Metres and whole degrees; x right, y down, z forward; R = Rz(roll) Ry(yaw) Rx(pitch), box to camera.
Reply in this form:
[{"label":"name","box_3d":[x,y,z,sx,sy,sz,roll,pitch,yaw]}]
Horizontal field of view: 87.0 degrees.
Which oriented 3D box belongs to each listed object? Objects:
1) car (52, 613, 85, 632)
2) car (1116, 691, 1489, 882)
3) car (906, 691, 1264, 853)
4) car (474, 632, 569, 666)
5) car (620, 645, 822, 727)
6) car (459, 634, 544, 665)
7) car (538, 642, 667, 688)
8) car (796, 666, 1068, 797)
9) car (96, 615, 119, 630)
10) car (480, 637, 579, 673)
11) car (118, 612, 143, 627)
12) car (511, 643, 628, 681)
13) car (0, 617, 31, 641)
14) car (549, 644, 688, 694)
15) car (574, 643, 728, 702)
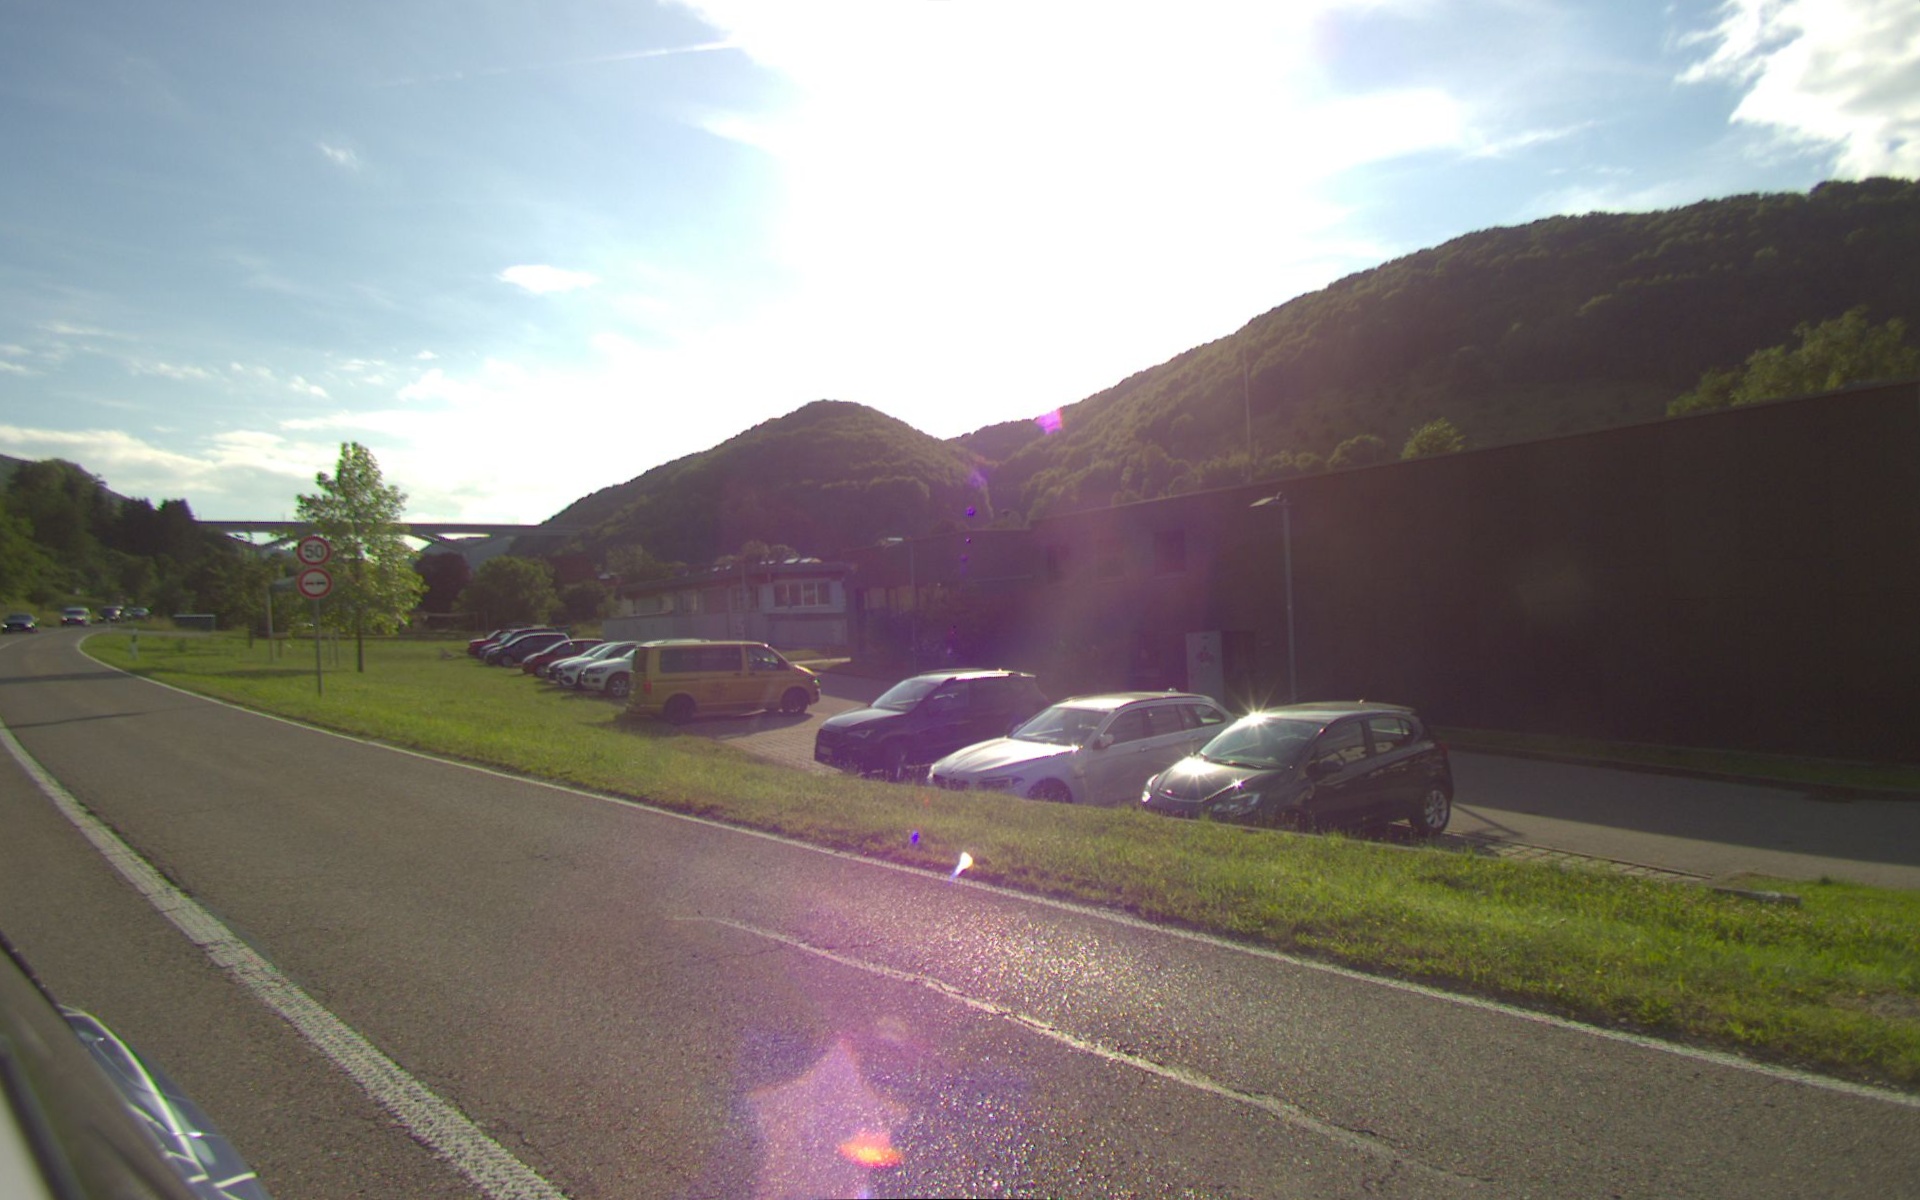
[{"label":"car","box_3d":[-85.926,2.170,97.564,1.770,1.749,4.295,-1,-1,-33]},{"label":"car","box_3d":[3.878,1.921,11.354,3.932,1.546,1.839,0,-2,-31]},{"label":"car","box_3d":[1.739,2.109,13.383,4.577,1.508,1.918,1,-2,-34]},{"label":"car","box_3d":[-24.182,2.653,55.898,4.595,1.776,2.006,0,-2,-31]},{"label":"car","box_3d":[-6.022,2.088,25.616,4.583,1.827,2.006,0,-2,-30]},{"label":"car","box_3d":[-27.288,2.900,60.234,4.371,1.733,2.006,0,-2,-31]},{"label":"car","box_3d":[-13.712,2.459,38.850,4.371,1.595,2.006,0,-2,-32]},{"label":"car","box_3d":[-0.414,2.107,17.196,4.226,1.650,1.917,-2,-1,-35]},{"label":"car","box_3d":[-97.262,2.528,115.517,1.652,1.659,3.355,-1,-1,-33]},{"label":"car","box_3d":[-21.938,2.766,51.625,4.371,1.595,2.006,-1,-1,-31]},{"label":"car","box_3d":[-105.837,2.525,129.118,1.966,1.730,4.011,-1,-1,-32]},{"label":"car","box_3d":[-16.589,2.587,43.000,4.370,1.463,2.006,0,-2,-30]},{"label":"car","box_3d":[-69.735,2.143,74.307,1.883,1.698,4.008,0,-2,-38]},{"label":"car","box_3d":[-12.086,2.403,35.882,4.370,1.599,2.006,0,-2,-30]},{"label":"car","box_3d":[-10.065,2.302,33.011,4.477,1.714,2.006,0,-2,-30]}]
